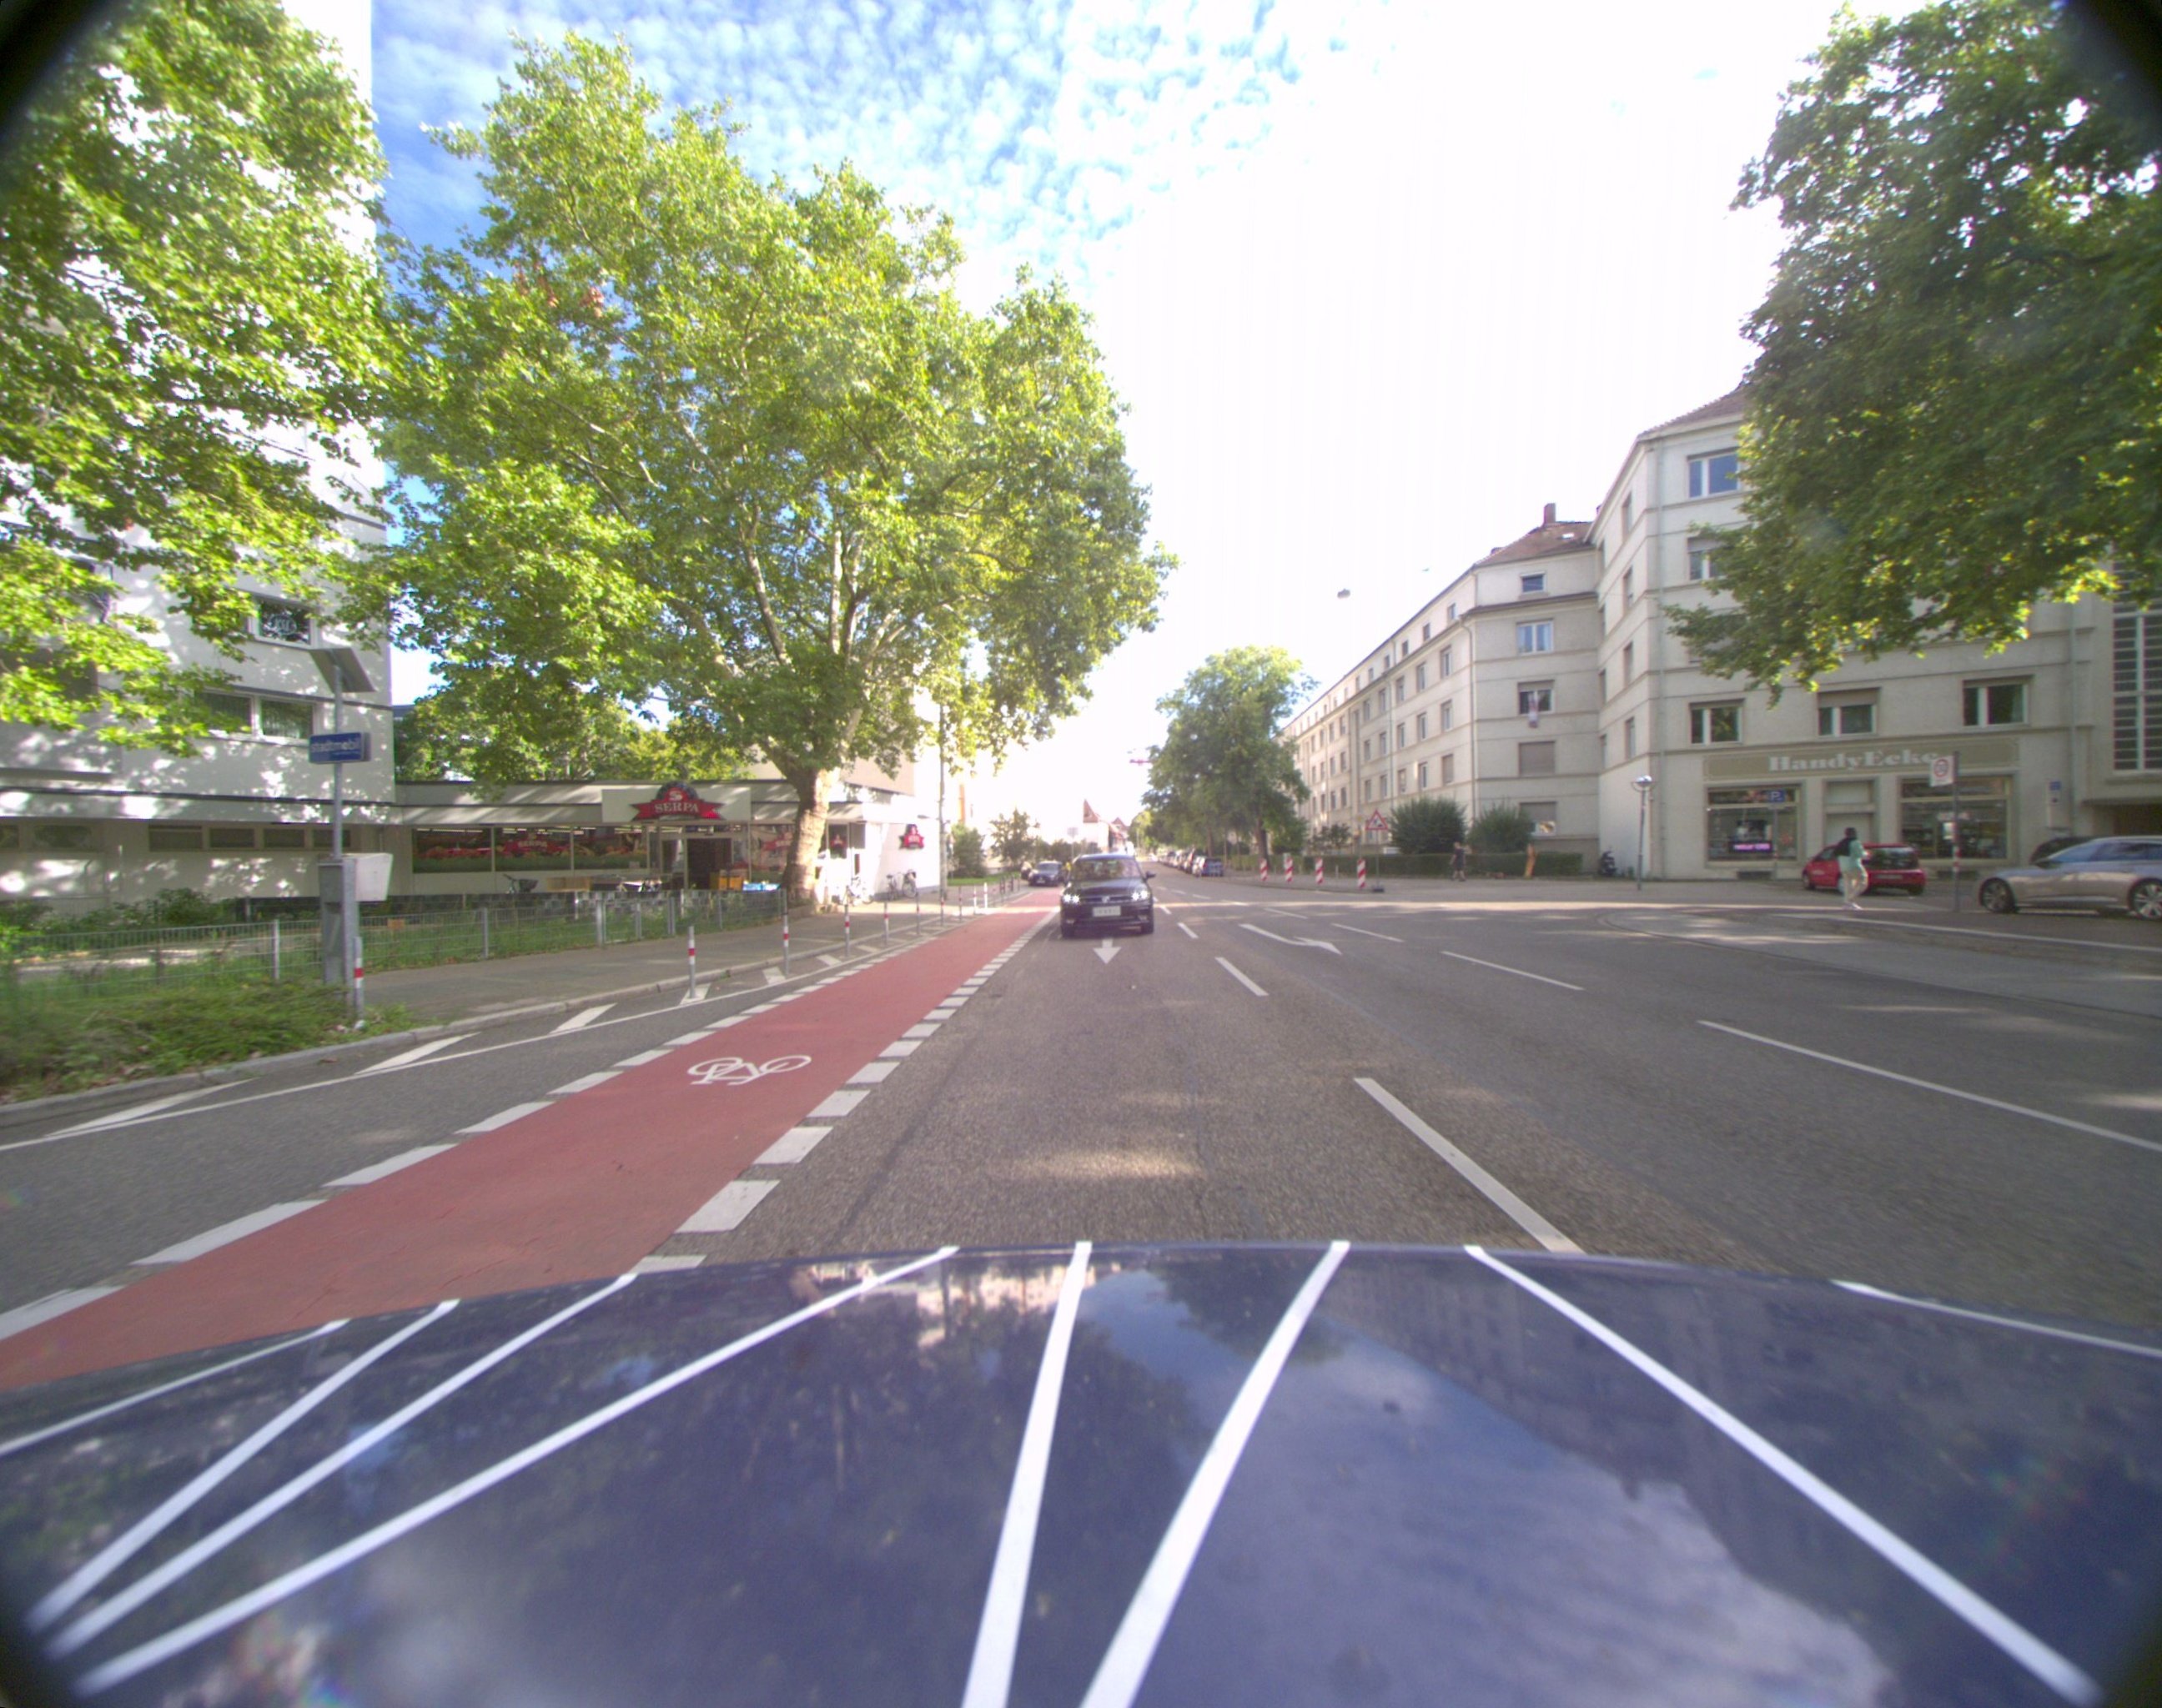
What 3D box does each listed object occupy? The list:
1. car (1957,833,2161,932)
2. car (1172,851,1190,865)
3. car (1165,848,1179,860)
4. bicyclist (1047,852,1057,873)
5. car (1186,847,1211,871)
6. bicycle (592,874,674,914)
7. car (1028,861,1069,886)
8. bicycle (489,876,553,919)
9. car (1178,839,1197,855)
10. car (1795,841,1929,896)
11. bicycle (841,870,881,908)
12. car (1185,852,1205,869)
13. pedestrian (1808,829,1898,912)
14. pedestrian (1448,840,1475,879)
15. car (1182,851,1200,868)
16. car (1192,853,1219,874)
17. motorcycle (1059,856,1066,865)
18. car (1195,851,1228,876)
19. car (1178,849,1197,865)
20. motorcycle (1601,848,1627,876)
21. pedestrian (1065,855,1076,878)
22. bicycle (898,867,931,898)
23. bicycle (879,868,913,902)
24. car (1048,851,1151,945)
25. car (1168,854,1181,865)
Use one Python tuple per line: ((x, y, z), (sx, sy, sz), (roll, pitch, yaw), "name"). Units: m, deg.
((18.752, 0.431, 13.199), (2.236, 1.576, 4.980), (-1, 0, 15), "car")
((12.019, 0.508, 91.364), (1.742, 1.611, 3.995), (-2, 0, 3), "car")
((14.000, 0.019, 117.367), (1.881, 1.782, 4.971), (1, 0, 3), "car")
((-2.281, 0.653, 59.927), (0.625, 1.668, 0.893), (-2, 1, 4), "bicyclist")
((9.804, 0.395, 63.451), (1.726, 1.871, 4.193), (0, 0, 4), "car")
((-12.720, 1.131, 21.623), (0.747, 1.032, 1.860), (-6, -4, 27), "bicycle")
((-1.942, 1.139, 46.485), (1.764, 1.403, 4.235), (0, 1, 8), "car")
((-15.421, 1.186, 20.985), (0.693, 1.065, 1.854), (-1, 0, -11), "bicycle")
((11.535, -0.741, 82.235), (1.803, 1.658, 4.484), (1, 0, 5), "car")
((23.060, 0.382, 22.608), (1.592, 1.469, 3.712), (-1, 0, 26), "car")
((-7.721, 1.195, 26.731), (0.713, 1.199, 1.816), (2, 2, 6), "bicycle")
((10.228, 0.520, 68.130), (1.697, 1.484, 4.334), (0, 0, 8), "car")
((16.998, 0.346, 16.749), (1.078, 1.743, 0.918), (-3, 1, -12), "pedestrian")
((15.520, 0.234, 31.007), (0.733, 1.569, 0.732), (-1, 1, 0), "pedestrian")
((10.581, 0.516, 72.969), (1.556, 1.511, 3.017), (1, 0, 6), "car")
((9.465, 0.676, 57.996), (1.803, 1.485, 3.804), (1, 0, 5), "car")
((-2.281, 0.791, 92.474), (0.632, 1.038, 2.394), (0, 0, 4), "motorcycle")
((9.099, 0.636, 53.286), (1.803, 1.611, 3.803), (1, 0, 3), "car")
((10.774, 0.290, 76.793), (1.703, 1.478, 3.849), (1, 0, 5), "car")
((22.428, 0.318, 32.004), (0.545, 1.156, 1.879), (-1, 0, 25), "motorcycle")
((-0.685, 0.806, 49.765), (0.654, 1.530, 0.743), (0, 1, 4), "pedestrian")
((-7.038, 1.196, 32.274), (0.770, 1.199, 1.816), (-1, 0, 7), "bicycle")
((-7.349, 1.217, 30.265), (0.712, 1.199, 1.771), (2, 2, 7), "bicycle")
((0.384, 0.814, 16.159), (1.859, 1.673, 4.000), (-2, 0, 1), "car")
((13.104, 0.714, 106.550), (1.688, 1.472, 4.454), (2, 1, 7), "car")
